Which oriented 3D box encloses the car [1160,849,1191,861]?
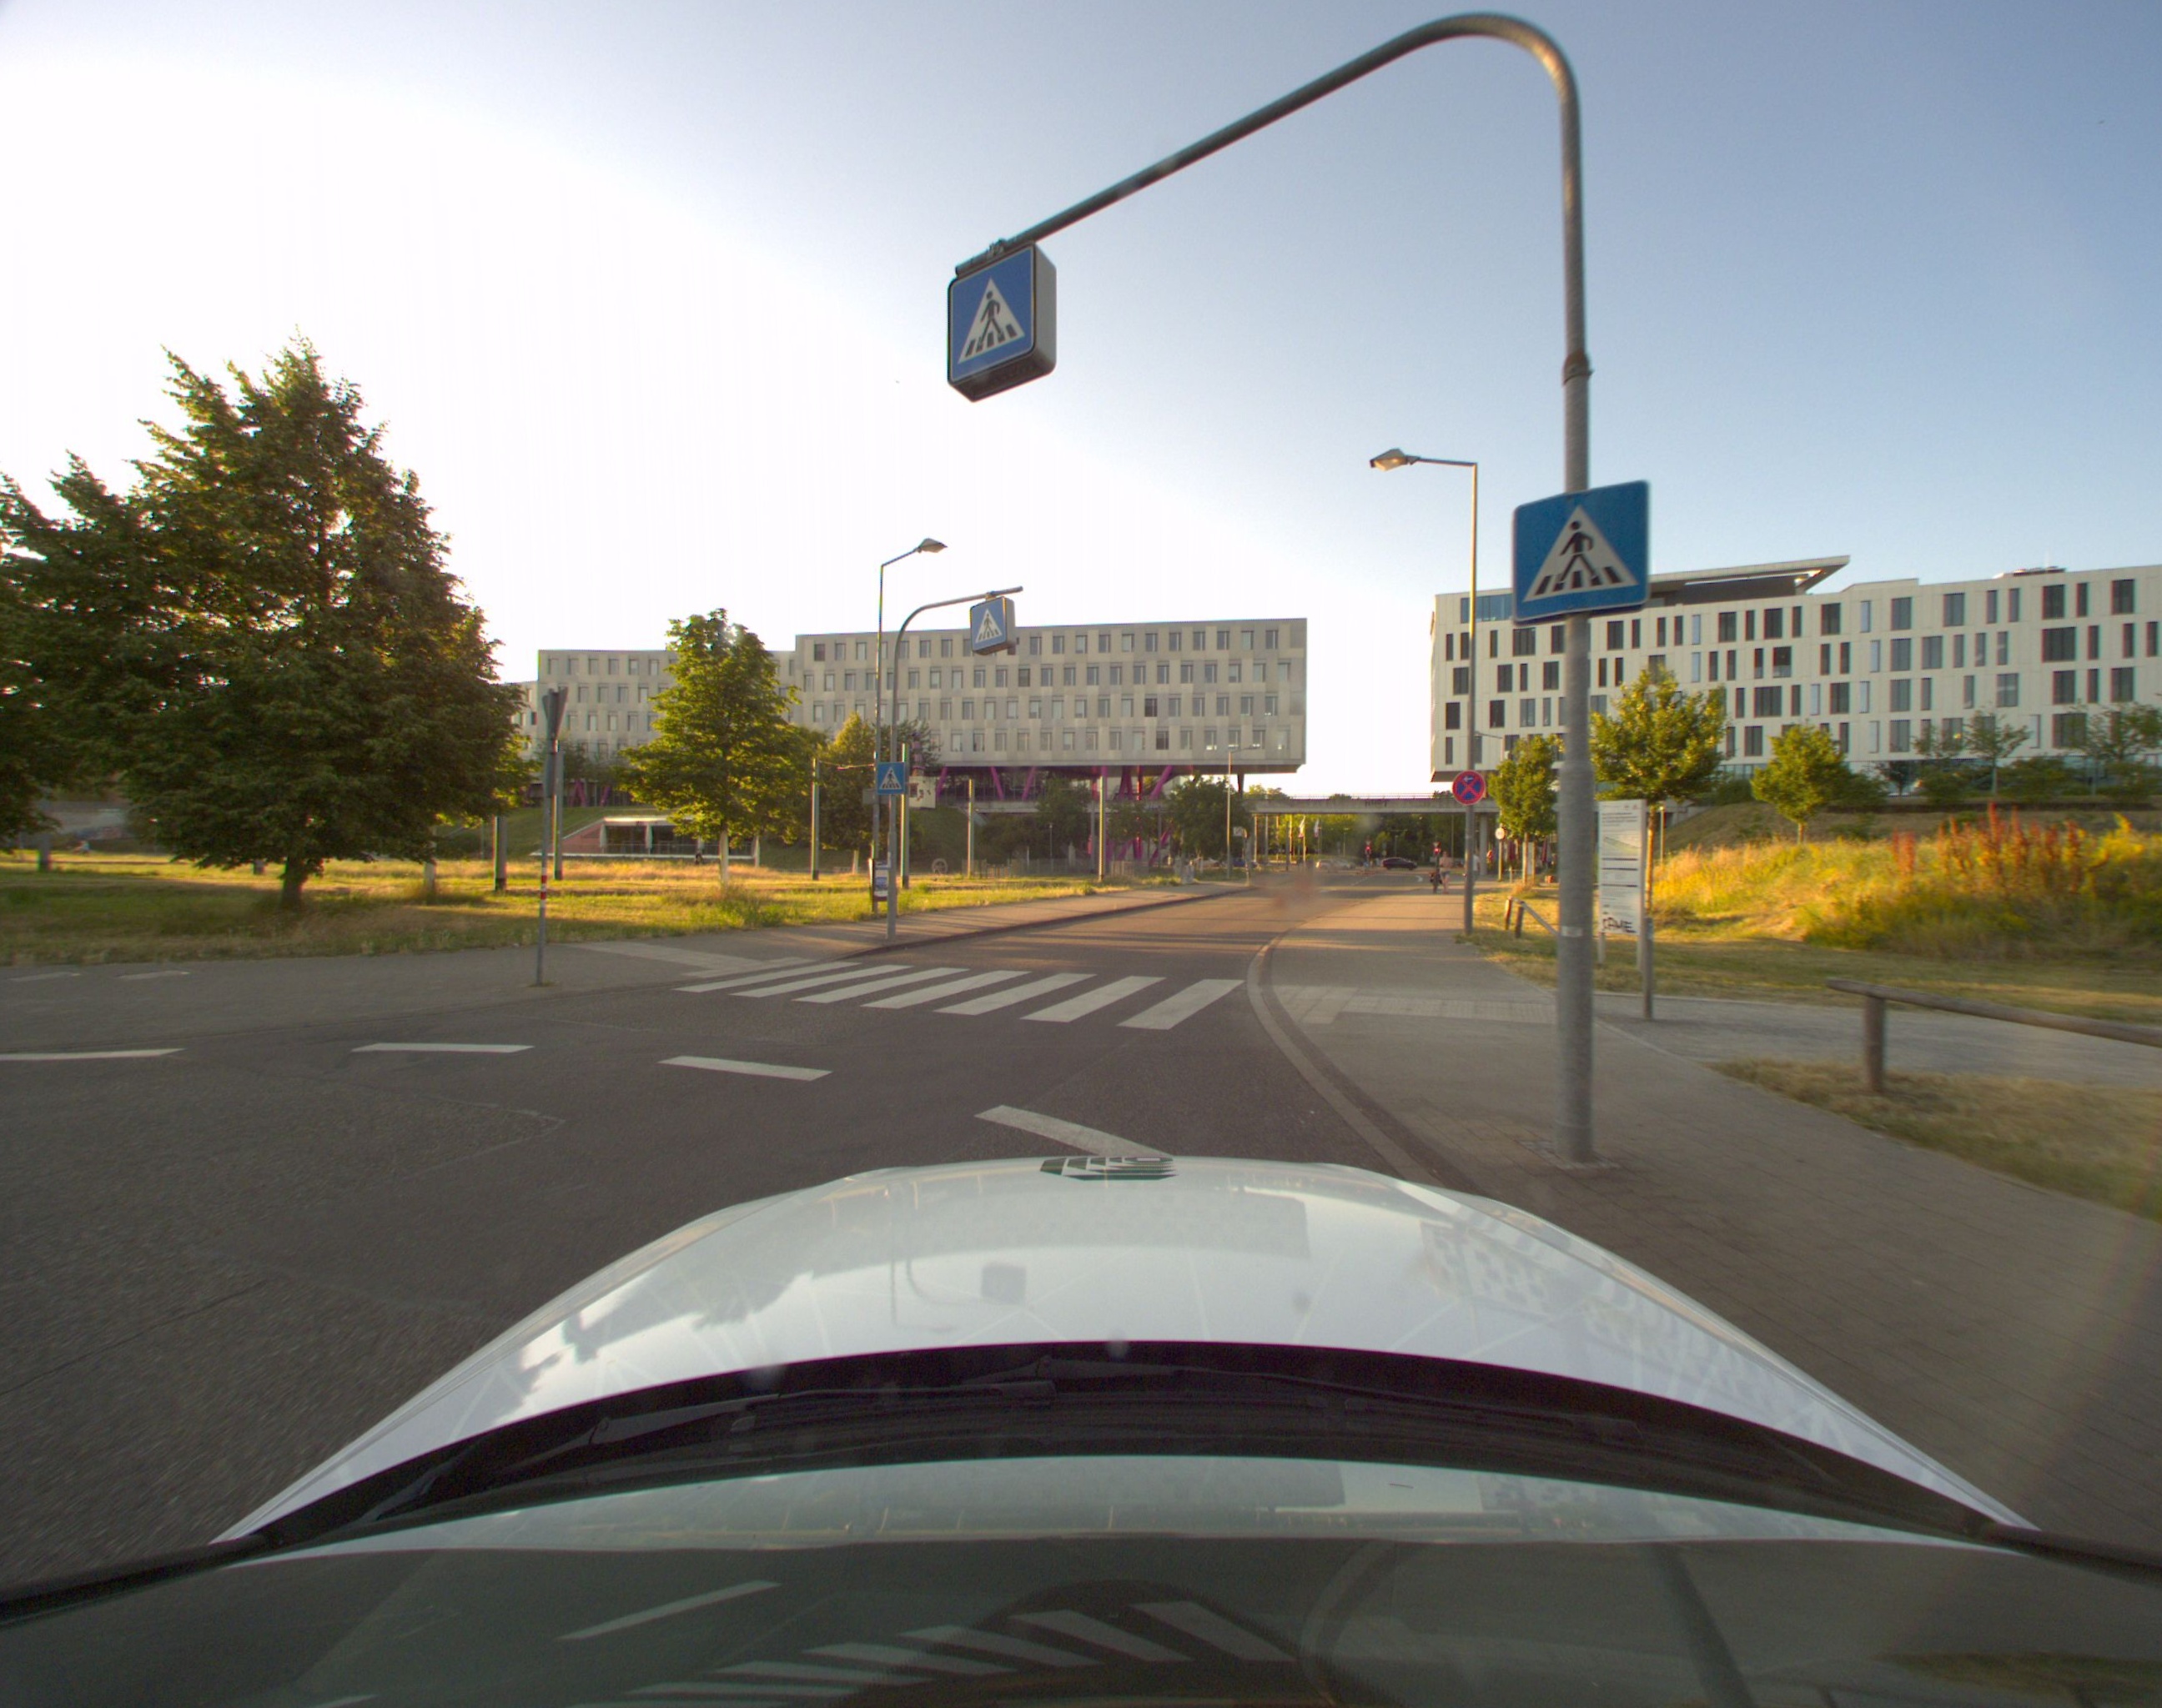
[{"bbox_3d":[14.934,0.142,128.519,4.429,1.816,1.955,0,1,21],"label":"car"}]

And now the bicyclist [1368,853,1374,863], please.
[{"bbox_3d":[52.727,0.746,148.128,0.755,1.723,0.552,0,1,-3],"label":"bicyclist"}]

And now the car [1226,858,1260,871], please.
[{"bbox_3d":[23.202,1.482,116.350,4.681,1.828,1.900,0,1,13],"label":"car"}]

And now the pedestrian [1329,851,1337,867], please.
[{"bbox_3d":[31.458,0.637,101.672,0.902,1.990,0.774,0,1,14],"label":"pedestrian"}]

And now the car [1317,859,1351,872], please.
[{"bbox_3d":[34.976,1.614,112.642,4.376,1.724,1.844,0,1,20],"label":"car"}]

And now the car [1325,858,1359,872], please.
[{"bbox_3d":[36.904,1.506,115.294,4.375,1.799,1.845,1,1,23],"label":"car"}]

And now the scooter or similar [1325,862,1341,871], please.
[{"bbox_3d":[31.478,1.556,101.674,1.846,1.174,0.767,0,1,14],"label":"scooter or similar"}]

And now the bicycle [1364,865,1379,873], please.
[{"bbox_3d":[35.705,1.879,100.116,1.679,0.948,0.514,0,1,21],"label":"bicycle"}]

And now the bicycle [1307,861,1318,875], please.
[{"bbox_3d":[18.402,1.092,64.728,0.533,1.043,1.937,1,1,27],"label":"bicycle"}]

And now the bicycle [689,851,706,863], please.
[{"bbox_3d":[-29.418,0.229,62.423,1.221,0.900,0.433,0,1,23],"label":"bicycle"}]

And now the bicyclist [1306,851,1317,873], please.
[{"bbox_3d":[18.330,0.615,64.770,0.609,1.662,1.042,0,1,27],"label":"bicyclist"}]

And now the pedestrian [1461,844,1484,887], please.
[{"bbox_3d":[16.649,0.483,34.662,0.823,1.766,0.823,1,1,29],"label":"pedestrian"}]

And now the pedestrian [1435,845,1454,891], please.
[{"bbox_3d":[14.591,0.556,32.679,0.589,1.801,0.823,1,1,29],"label":"pedestrian"}]

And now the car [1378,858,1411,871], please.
[{"bbox_3d":[44.467,1.490,115.564,4.375,1.799,1.845,1,1,23],"label":"car"}]

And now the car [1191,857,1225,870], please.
[{"bbox_3d":[18.868,1.367,121.160,4.645,1.828,1.845,1,1,23],"label":"car"}]

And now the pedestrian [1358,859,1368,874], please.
[{"bbox_3d":[33.850,1.500,97.741,1.047,1.833,0.898,0,1,9],"label":"pedestrian"}]

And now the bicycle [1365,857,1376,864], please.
[{"bbox_3d":[52.641,1.160,148.128,1.958,1.128,0.560,0,1,-4],"label":"bicycle"}]

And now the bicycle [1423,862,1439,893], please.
[{"bbox_3d":[14.168,0.926,32.955,0.445,1.168,1.953,1,1,28],"label":"bicycle"}]

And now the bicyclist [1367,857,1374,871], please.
[{"bbox_3d":[35.605,1.272,100.142,0.759,1.704,0.515,0,1,21],"label":"bicyclist"}]

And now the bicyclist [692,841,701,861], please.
[{"bbox_3d":[-29.478,-0.253,62.435,0.508,1.494,0.427,0,1,24],"label":"bicyclist"}]
